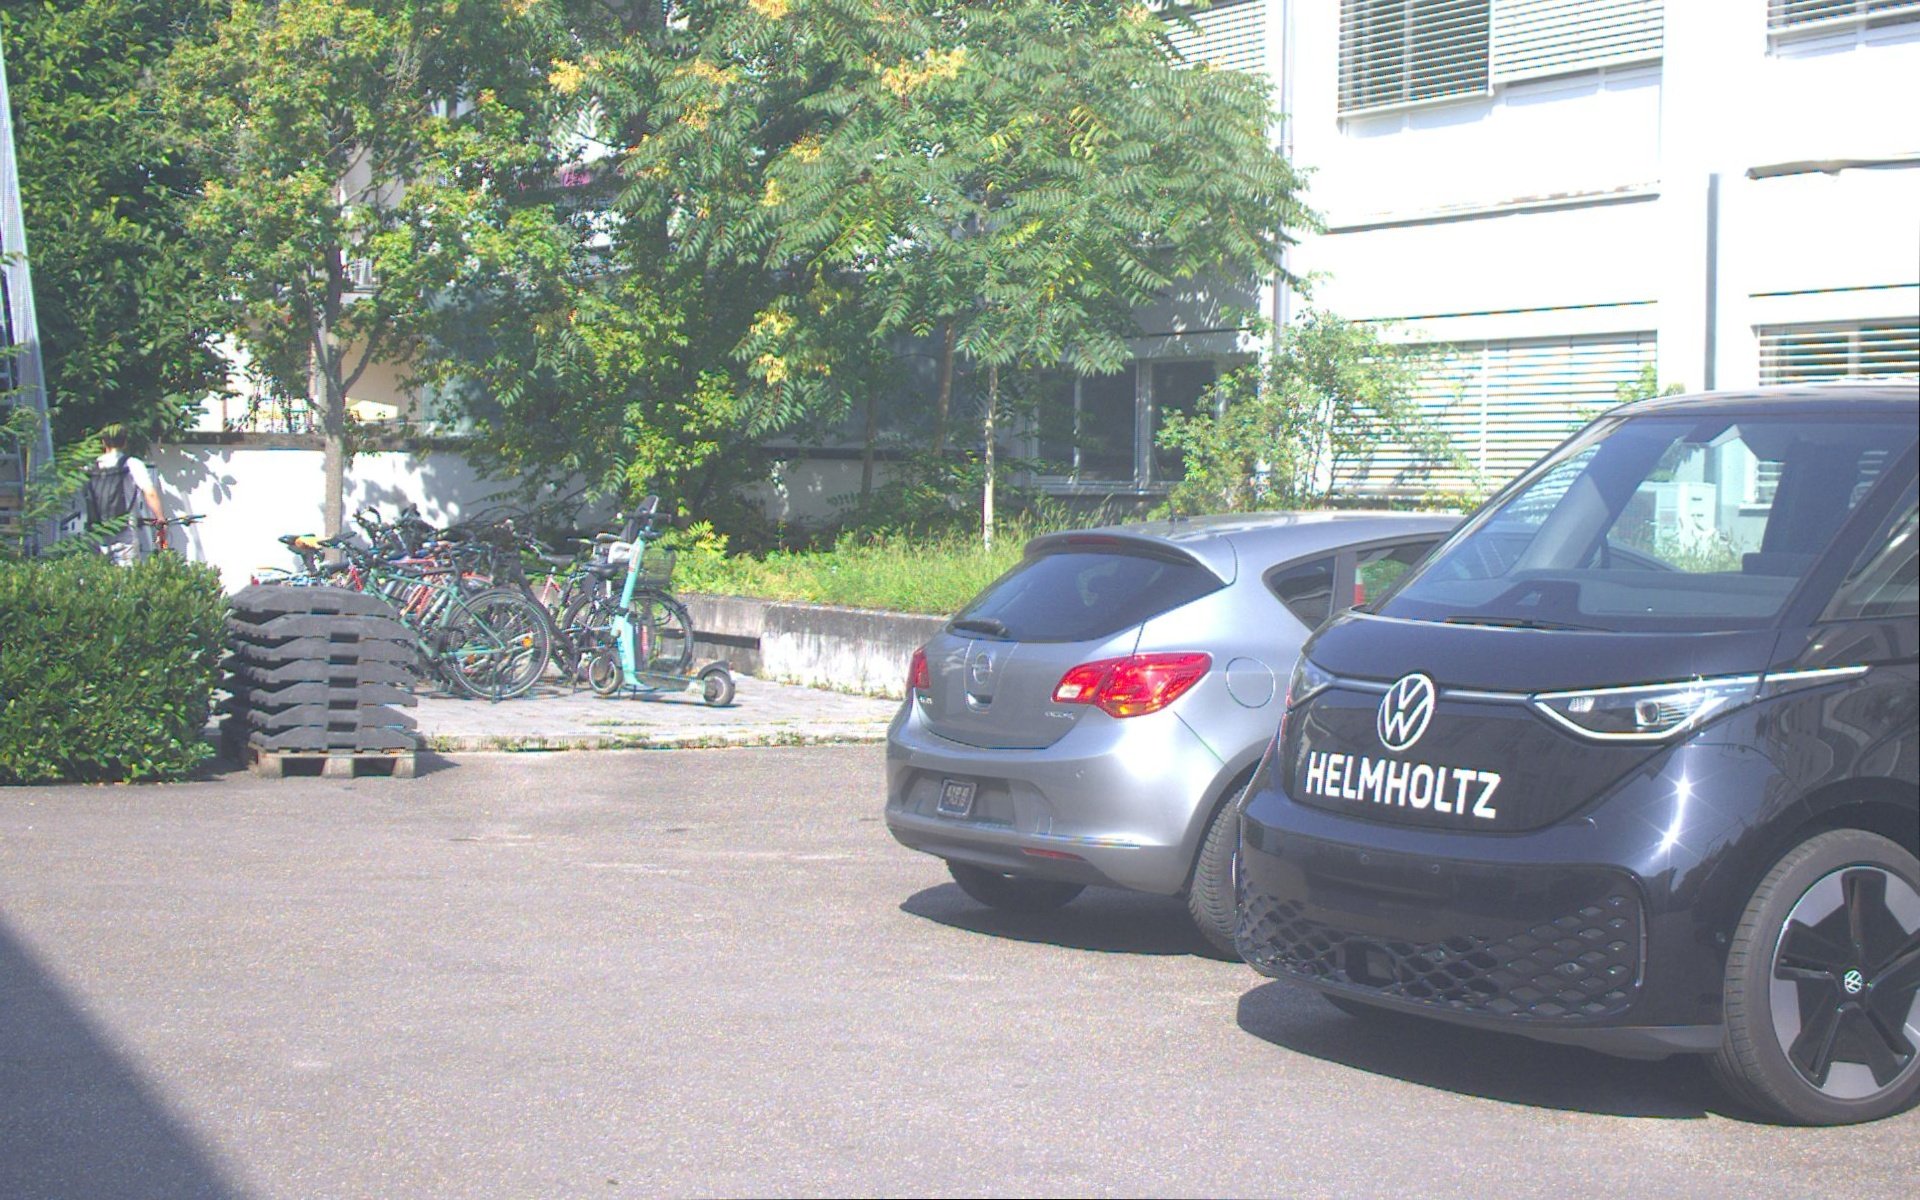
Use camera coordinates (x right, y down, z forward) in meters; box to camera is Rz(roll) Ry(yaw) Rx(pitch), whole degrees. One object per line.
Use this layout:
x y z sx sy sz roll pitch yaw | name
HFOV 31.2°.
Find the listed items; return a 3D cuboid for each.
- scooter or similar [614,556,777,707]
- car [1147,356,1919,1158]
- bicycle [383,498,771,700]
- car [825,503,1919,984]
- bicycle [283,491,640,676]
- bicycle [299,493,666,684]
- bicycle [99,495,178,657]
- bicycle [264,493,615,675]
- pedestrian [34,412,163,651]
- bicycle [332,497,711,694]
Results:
-1.705 0.195 22.116 0.998 0.921 0.360 3 2 31 | scooter or similar
2.889 0.308 9.850 4.335 1.852 1.915 0 3 -31 | car
-2.473 0.001 22.283 2.410 1.242 0.526 1 2 -21 | bicycle
1.613 0.408 12.442 3.897 1.461 1.663 -1 3 -35 | car
-3.514 -0.111 24.293 2.410 1.242 0.526 1 2 -21 | bicycle
-3.269 -0.073 23.598 2.410 1.242 0.526 1 2 -21 | bicycle
-6.199 -0.203 25.992 0.488 1.139 1.995 0 3 -11 | bicycle
-3.745 -0.109 24.804 2.410 1.242 0.526 1 2 -21 | bicycle
-6.523 -0.521 26.047 0.858 1.765 0.611 2 2 -10 | pedestrian
-2.907 -0.025 22.847 2.410 1.242 0.526 1 2 -21 | bicycle
